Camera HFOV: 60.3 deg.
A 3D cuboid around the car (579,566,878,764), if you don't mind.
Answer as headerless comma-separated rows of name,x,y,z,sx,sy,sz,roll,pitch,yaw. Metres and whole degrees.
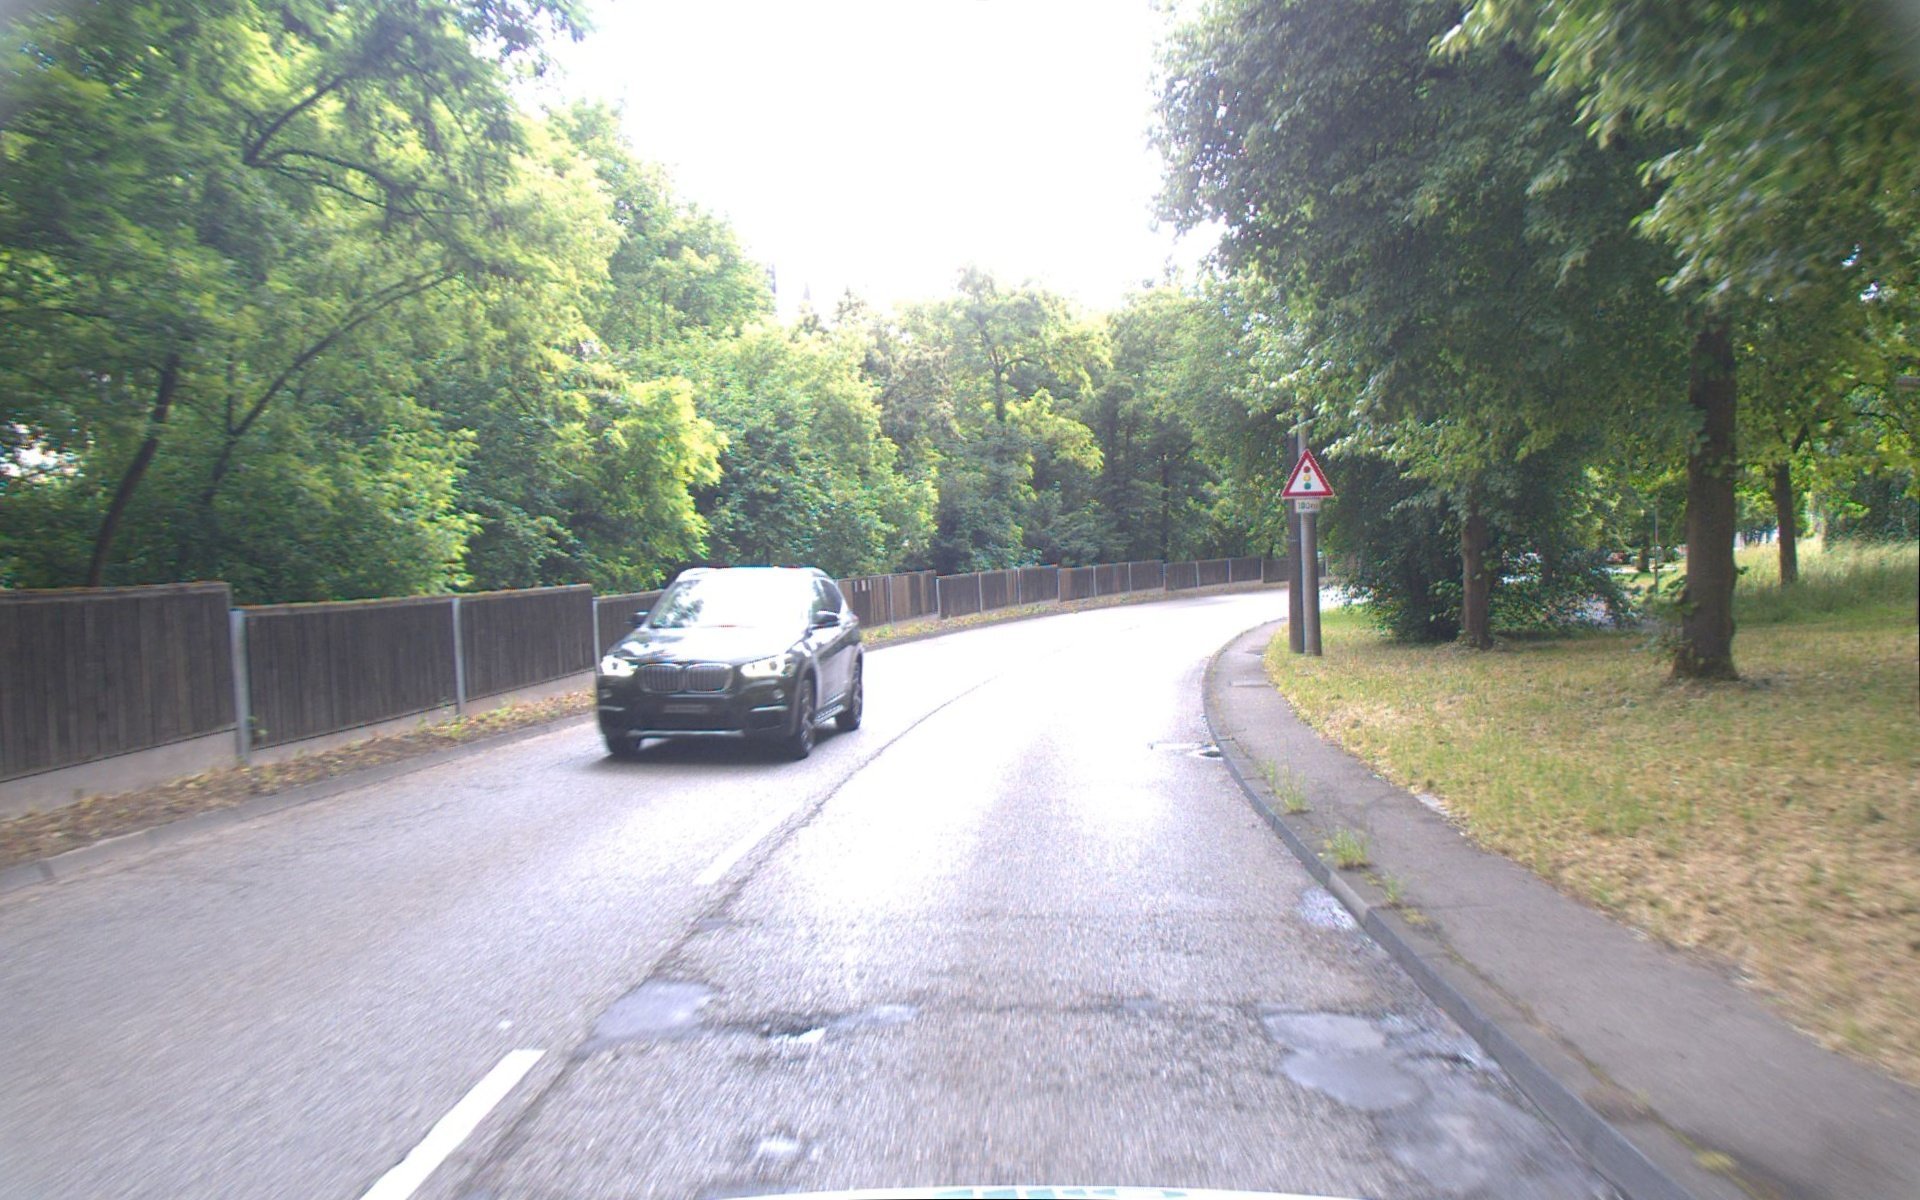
car,-1.986,0.502,15.514,1.806,1.591,4.236,0,1,6
